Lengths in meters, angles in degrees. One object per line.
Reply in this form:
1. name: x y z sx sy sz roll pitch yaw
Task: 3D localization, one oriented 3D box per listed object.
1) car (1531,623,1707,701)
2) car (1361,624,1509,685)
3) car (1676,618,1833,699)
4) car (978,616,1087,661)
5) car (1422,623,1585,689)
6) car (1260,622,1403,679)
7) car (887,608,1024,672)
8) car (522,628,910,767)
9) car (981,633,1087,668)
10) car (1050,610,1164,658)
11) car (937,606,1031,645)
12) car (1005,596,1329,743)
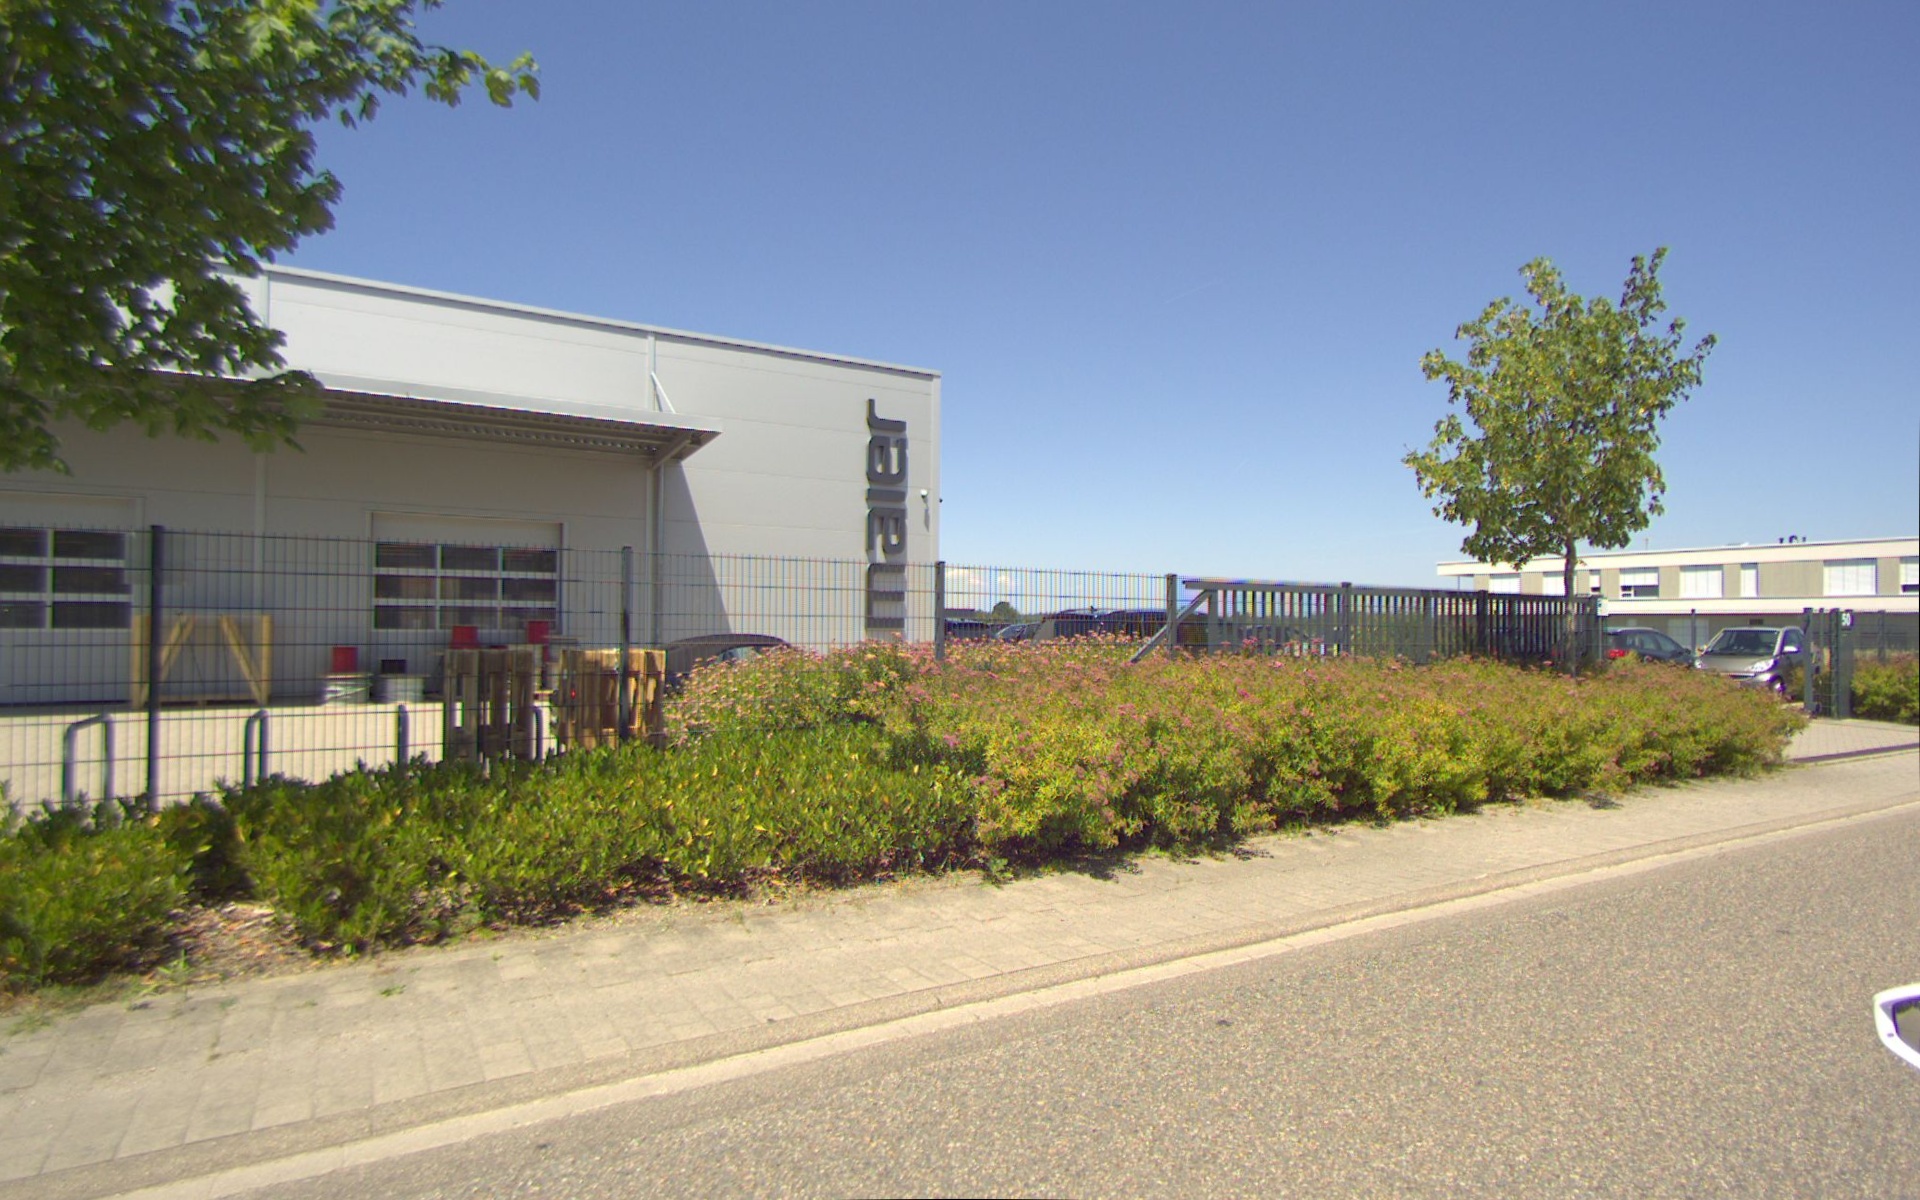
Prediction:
1. car: 14.500 1.292 22.055 3.957 1.561 1.814 1 -1 -33
2. car: 12.300 1.371 25.958 3.957 1.459 1.662 1 -1 -33
3. car: 16.373 1.156 20.689 2.965 1.540 1.690 1 -1 -33
4. car: 2.800 1.451 38.418 3.957 1.627 1.662 1 -1 -33
5. car: 13.005 1.286 23.982 3.957 1.459 1.791 1 -1 -33
6. car: 10.179 1.344 27.467 3.957 1.459 1.662 1 -1 -33
7. car: -0.198 0.929 24.708 1.775 1.439 3.842 1 -1 -28
8. car: -2.731 0.993 11.408 3.952 1.298 1.788 1 -1 -30
9. car: 3.056 2.045 41.301 3.953 1.327 1.984 1 -1 -30
10. car: 5.278 1.208 35.971 3.957 1.627 1.662 1 -1 -33
11. car: 1.118 1.184 46.520 3.953 1.706 1.984 1 -1 -30
12. car: 2.860 0.874 13.766 4.042 1.746 1.985 1 -1 -29
